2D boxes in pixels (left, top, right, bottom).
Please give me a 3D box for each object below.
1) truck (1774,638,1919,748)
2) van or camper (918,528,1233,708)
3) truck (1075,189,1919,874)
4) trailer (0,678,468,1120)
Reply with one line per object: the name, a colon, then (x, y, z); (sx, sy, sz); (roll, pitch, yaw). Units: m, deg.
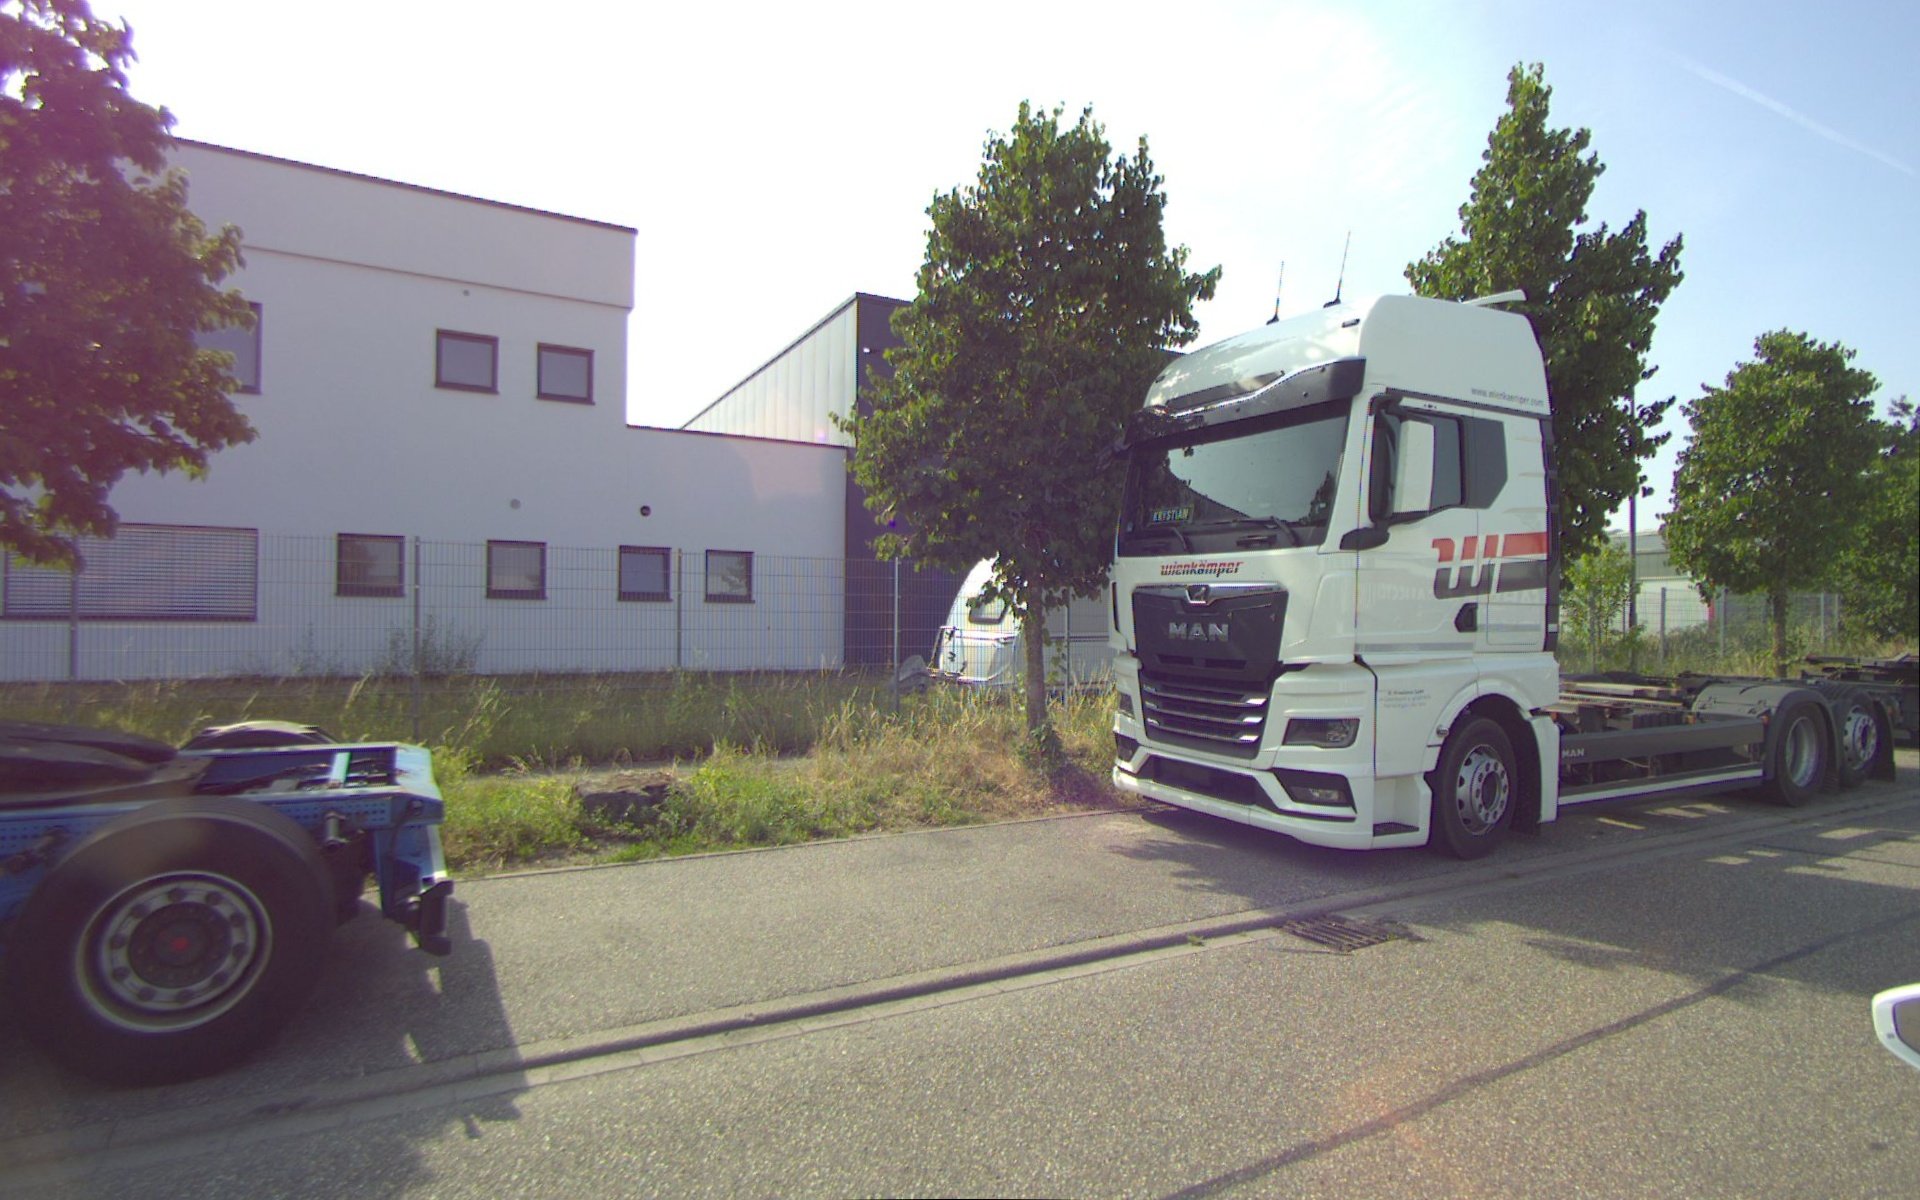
truck: (14.334, 1.204, 13.994); (6.449, 1.282, 2.513); (1, -1, -30)
van or camper: (1.985, 0.326, 16.735); (4.899, 2.594, 2.293); (1, -2, -32)
truck: (7.171, -0.269, 10.014); (12.756, 3.981, 2.616); (1, -1, -28)
trailer: (-4.622, 0.965, 3.470); (5.139, 1.114, 2.562); (1, 0, -29)
